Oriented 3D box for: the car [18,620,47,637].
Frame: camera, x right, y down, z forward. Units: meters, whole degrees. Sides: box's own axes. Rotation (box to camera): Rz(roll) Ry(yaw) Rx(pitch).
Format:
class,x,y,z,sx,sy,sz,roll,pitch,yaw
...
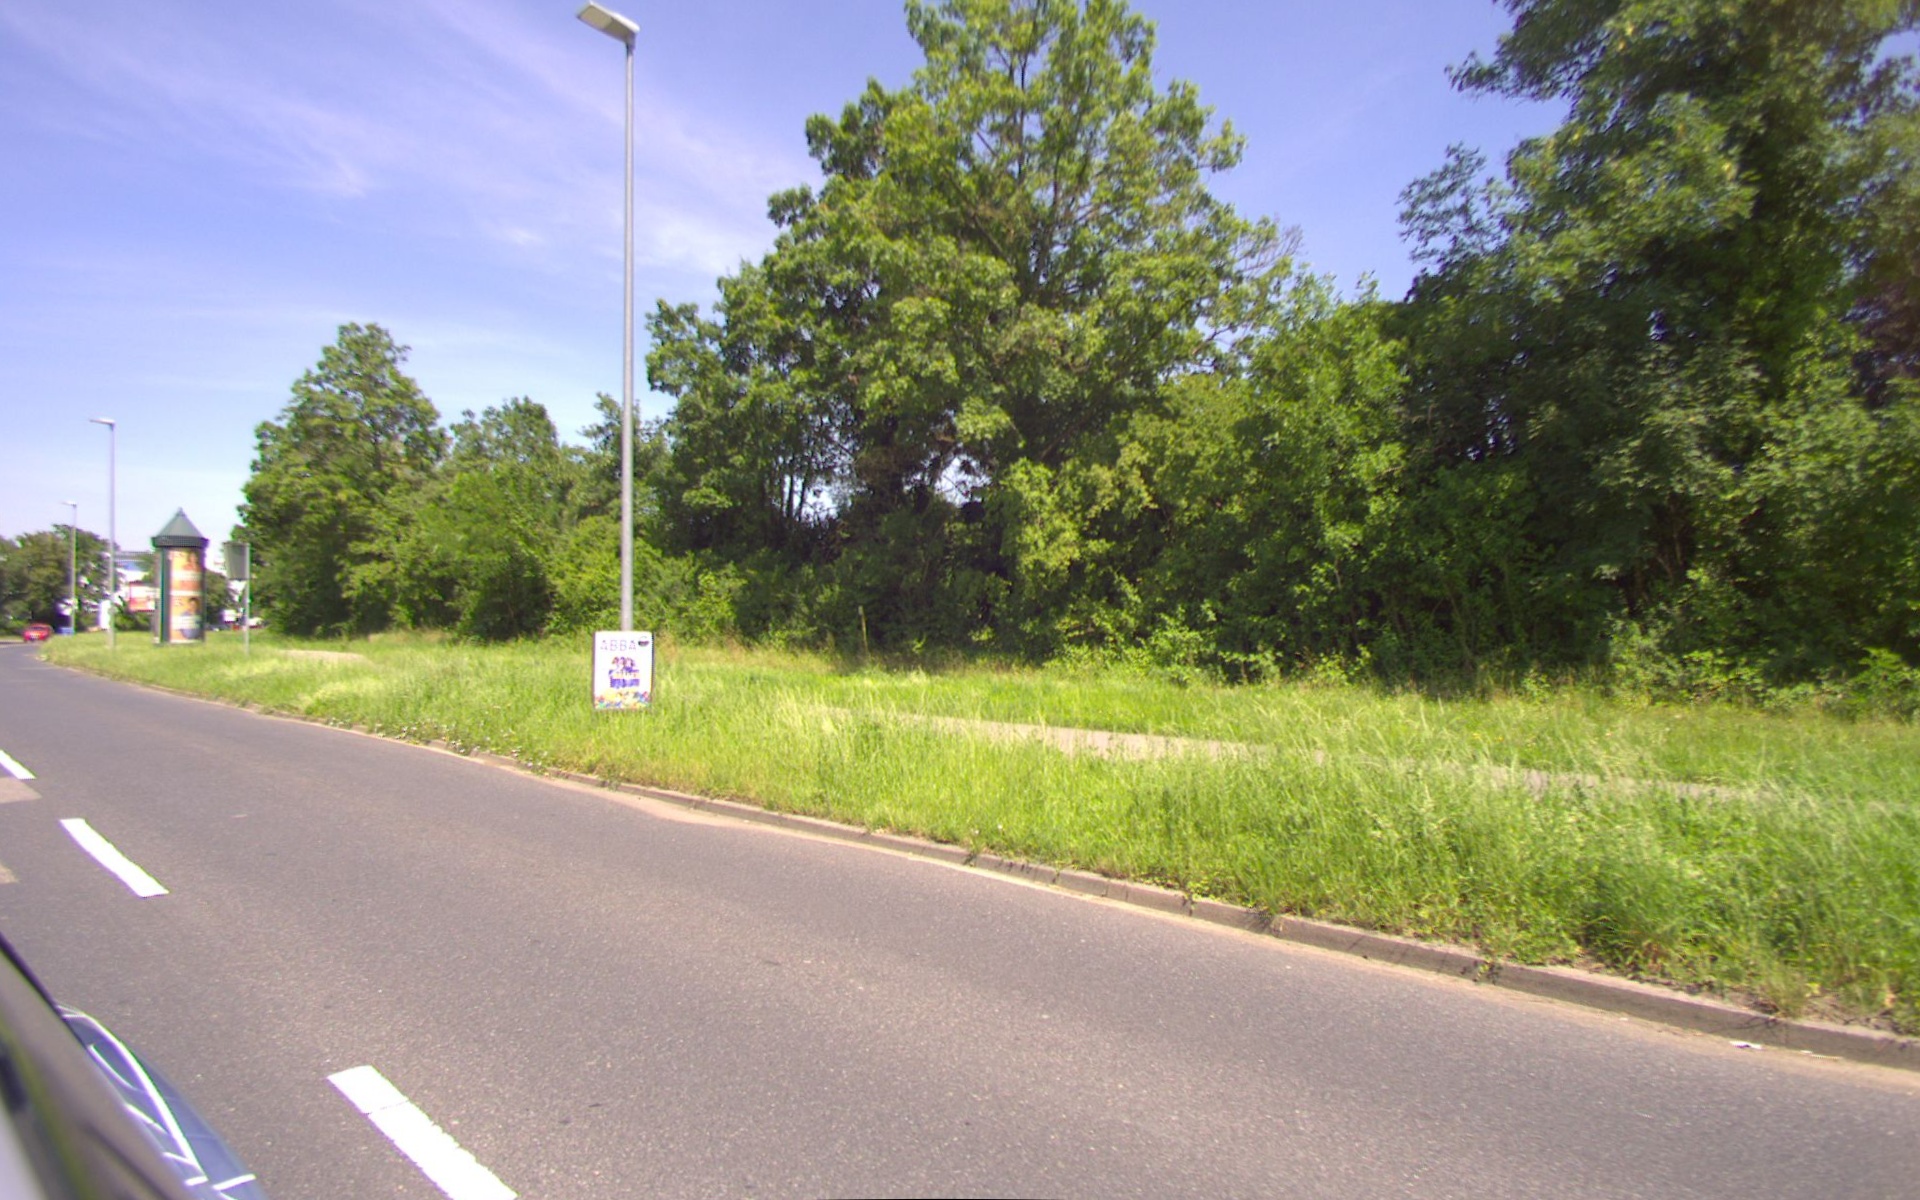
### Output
class,x,y,z,sx,sy,sz,roll,pitch,yaw
car,-80.815,2.483,88.222,1.687,1.386,3.681,-1,0,-40
